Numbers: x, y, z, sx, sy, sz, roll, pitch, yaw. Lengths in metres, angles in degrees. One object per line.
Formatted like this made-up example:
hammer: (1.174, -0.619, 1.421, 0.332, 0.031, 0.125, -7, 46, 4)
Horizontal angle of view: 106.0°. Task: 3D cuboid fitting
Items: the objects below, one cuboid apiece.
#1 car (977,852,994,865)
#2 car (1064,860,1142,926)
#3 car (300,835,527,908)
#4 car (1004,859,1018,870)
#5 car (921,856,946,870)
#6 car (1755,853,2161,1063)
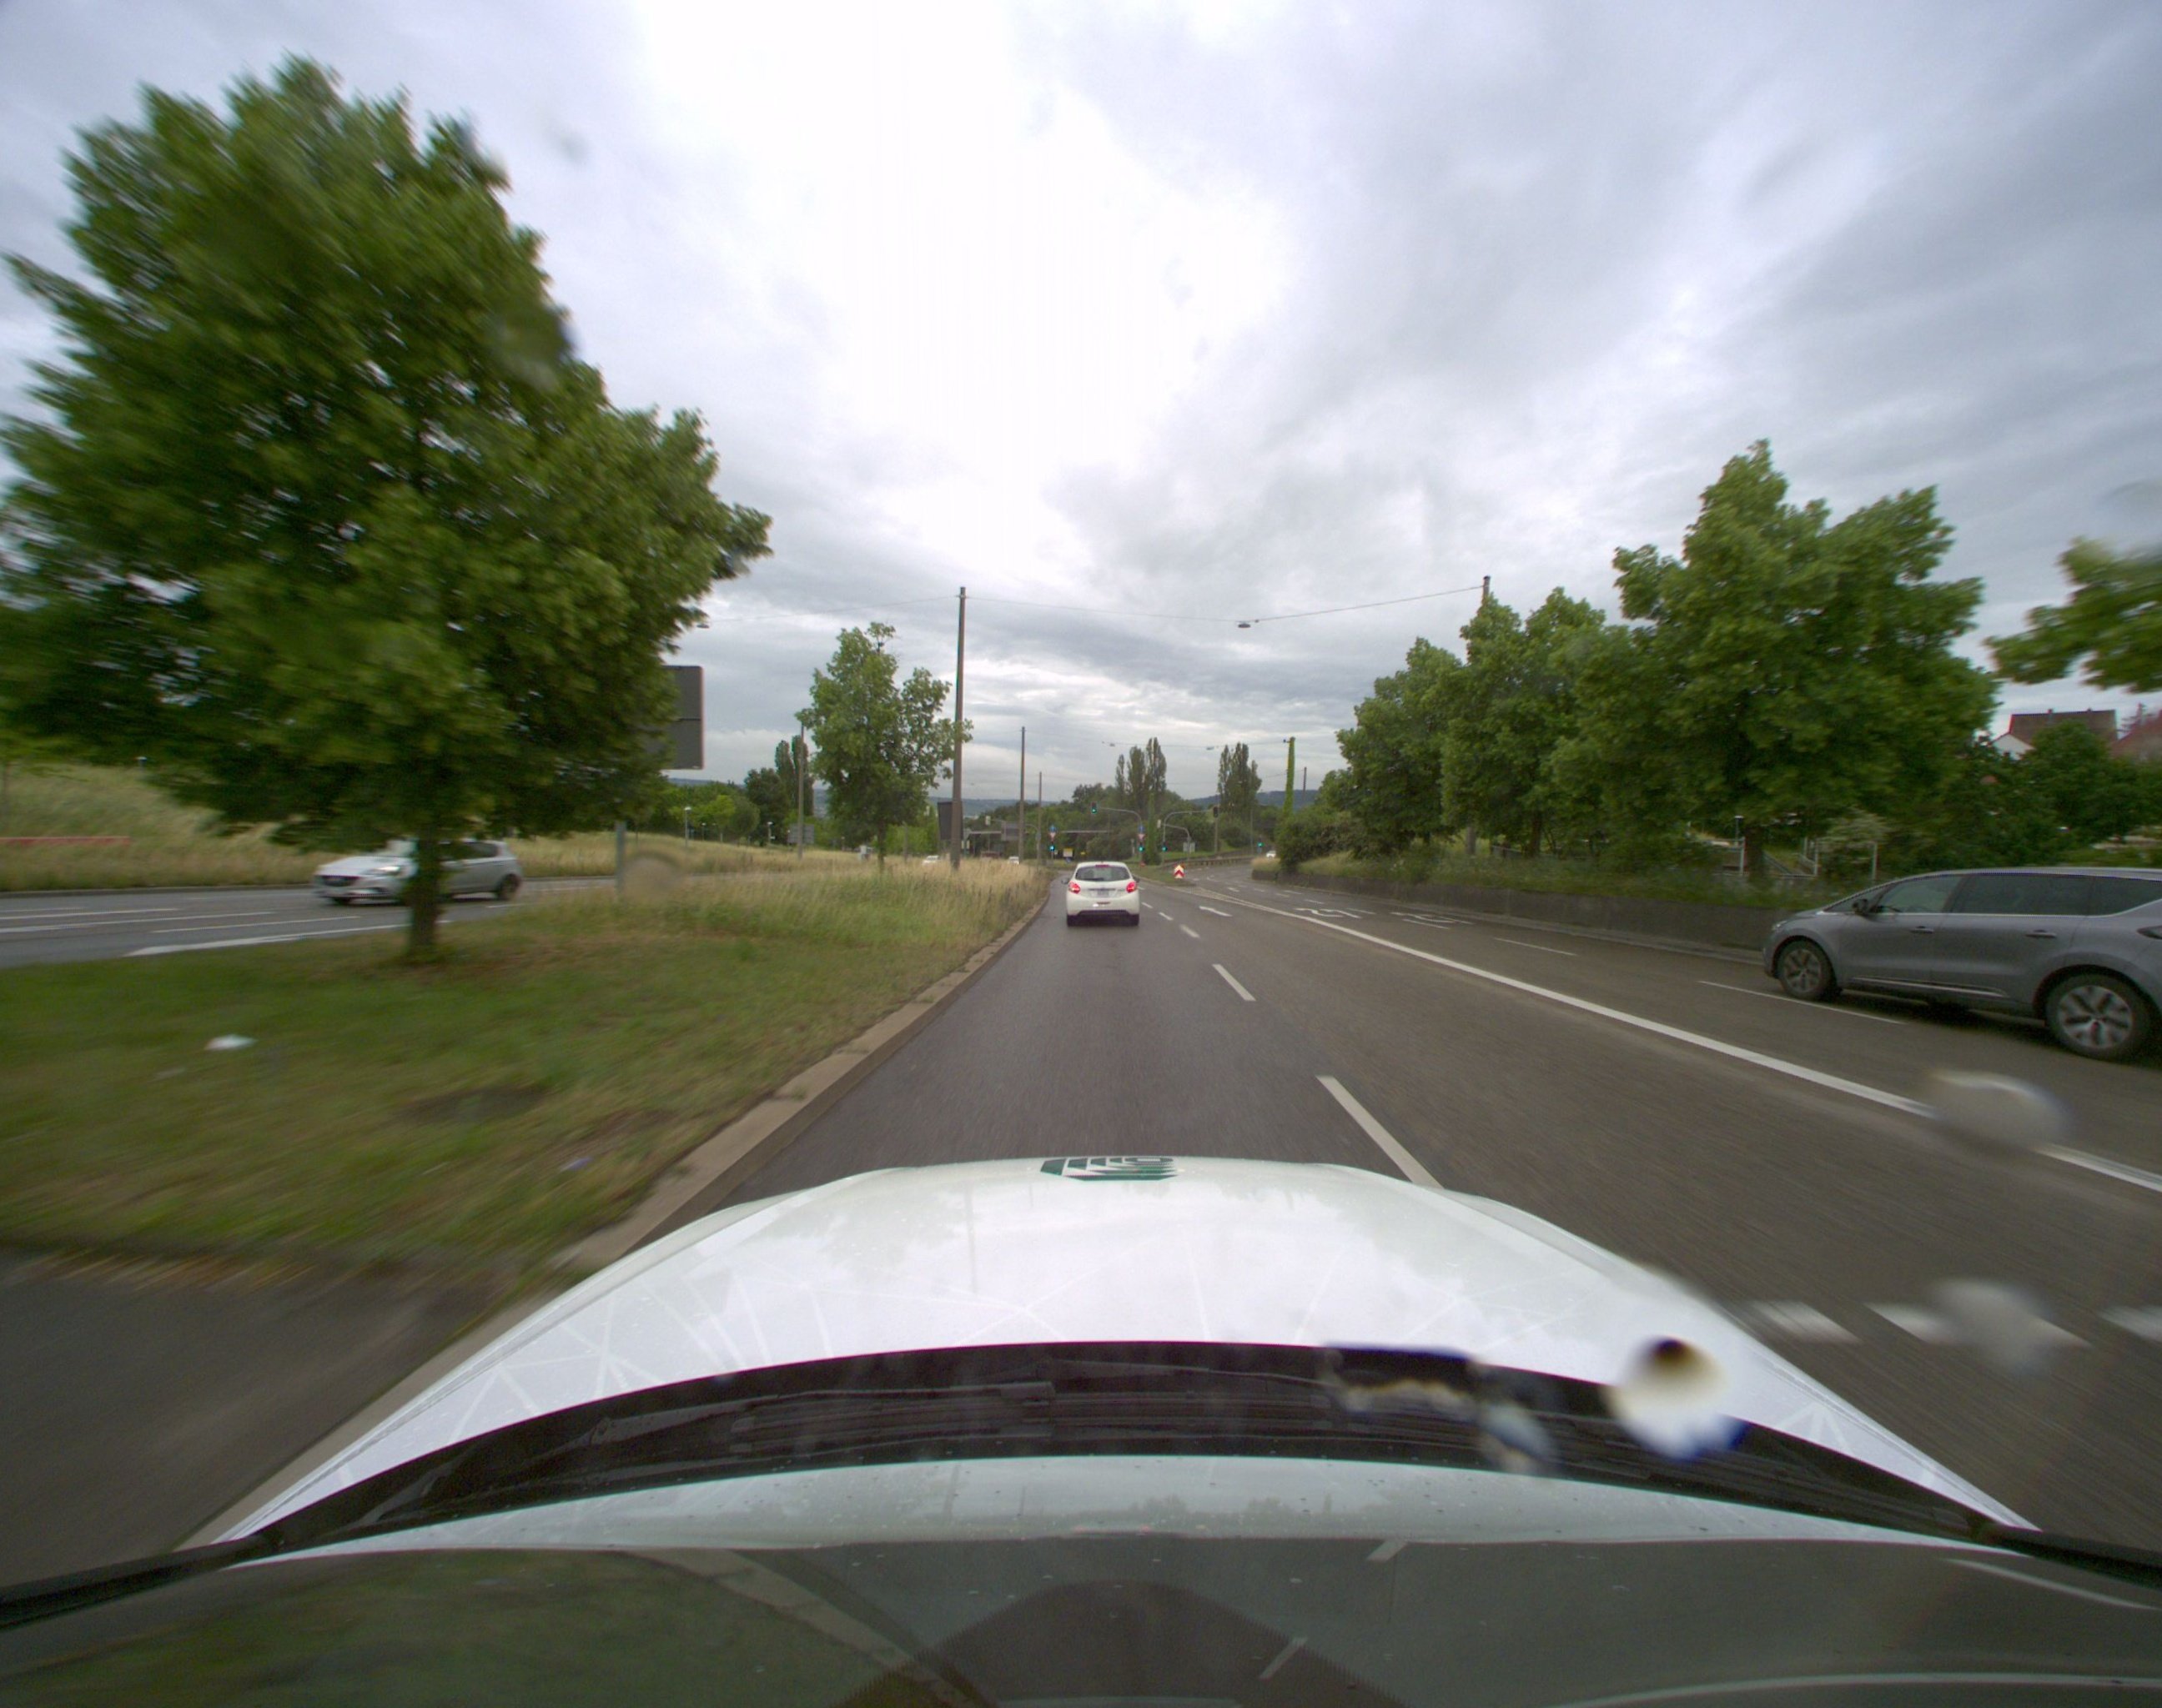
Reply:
car: (-12.043, 0.605, 102.608, 1.891, 1.537, 3.995, 1, -2, -3)
car: (0.544, 0.901, 19.873, 1.702, 1.440, 3.691, -1, -1, 1)
car: (-14.476, 0.366, 17.997, 1.531, 1.389, 3.932, 1, -1, 4)
car: (-8.947, 1.339, 104.610, 1.734, 1.373, 3.994, 1, -1, -4)
car: (-17.752, 1.104, 98.117, 1.878, 1.611, 4.678, 1, -1, 2)
car: (9.476, 0.938, 8.204, 1.718, 1.649, 4.627, 3, -2, 3)
